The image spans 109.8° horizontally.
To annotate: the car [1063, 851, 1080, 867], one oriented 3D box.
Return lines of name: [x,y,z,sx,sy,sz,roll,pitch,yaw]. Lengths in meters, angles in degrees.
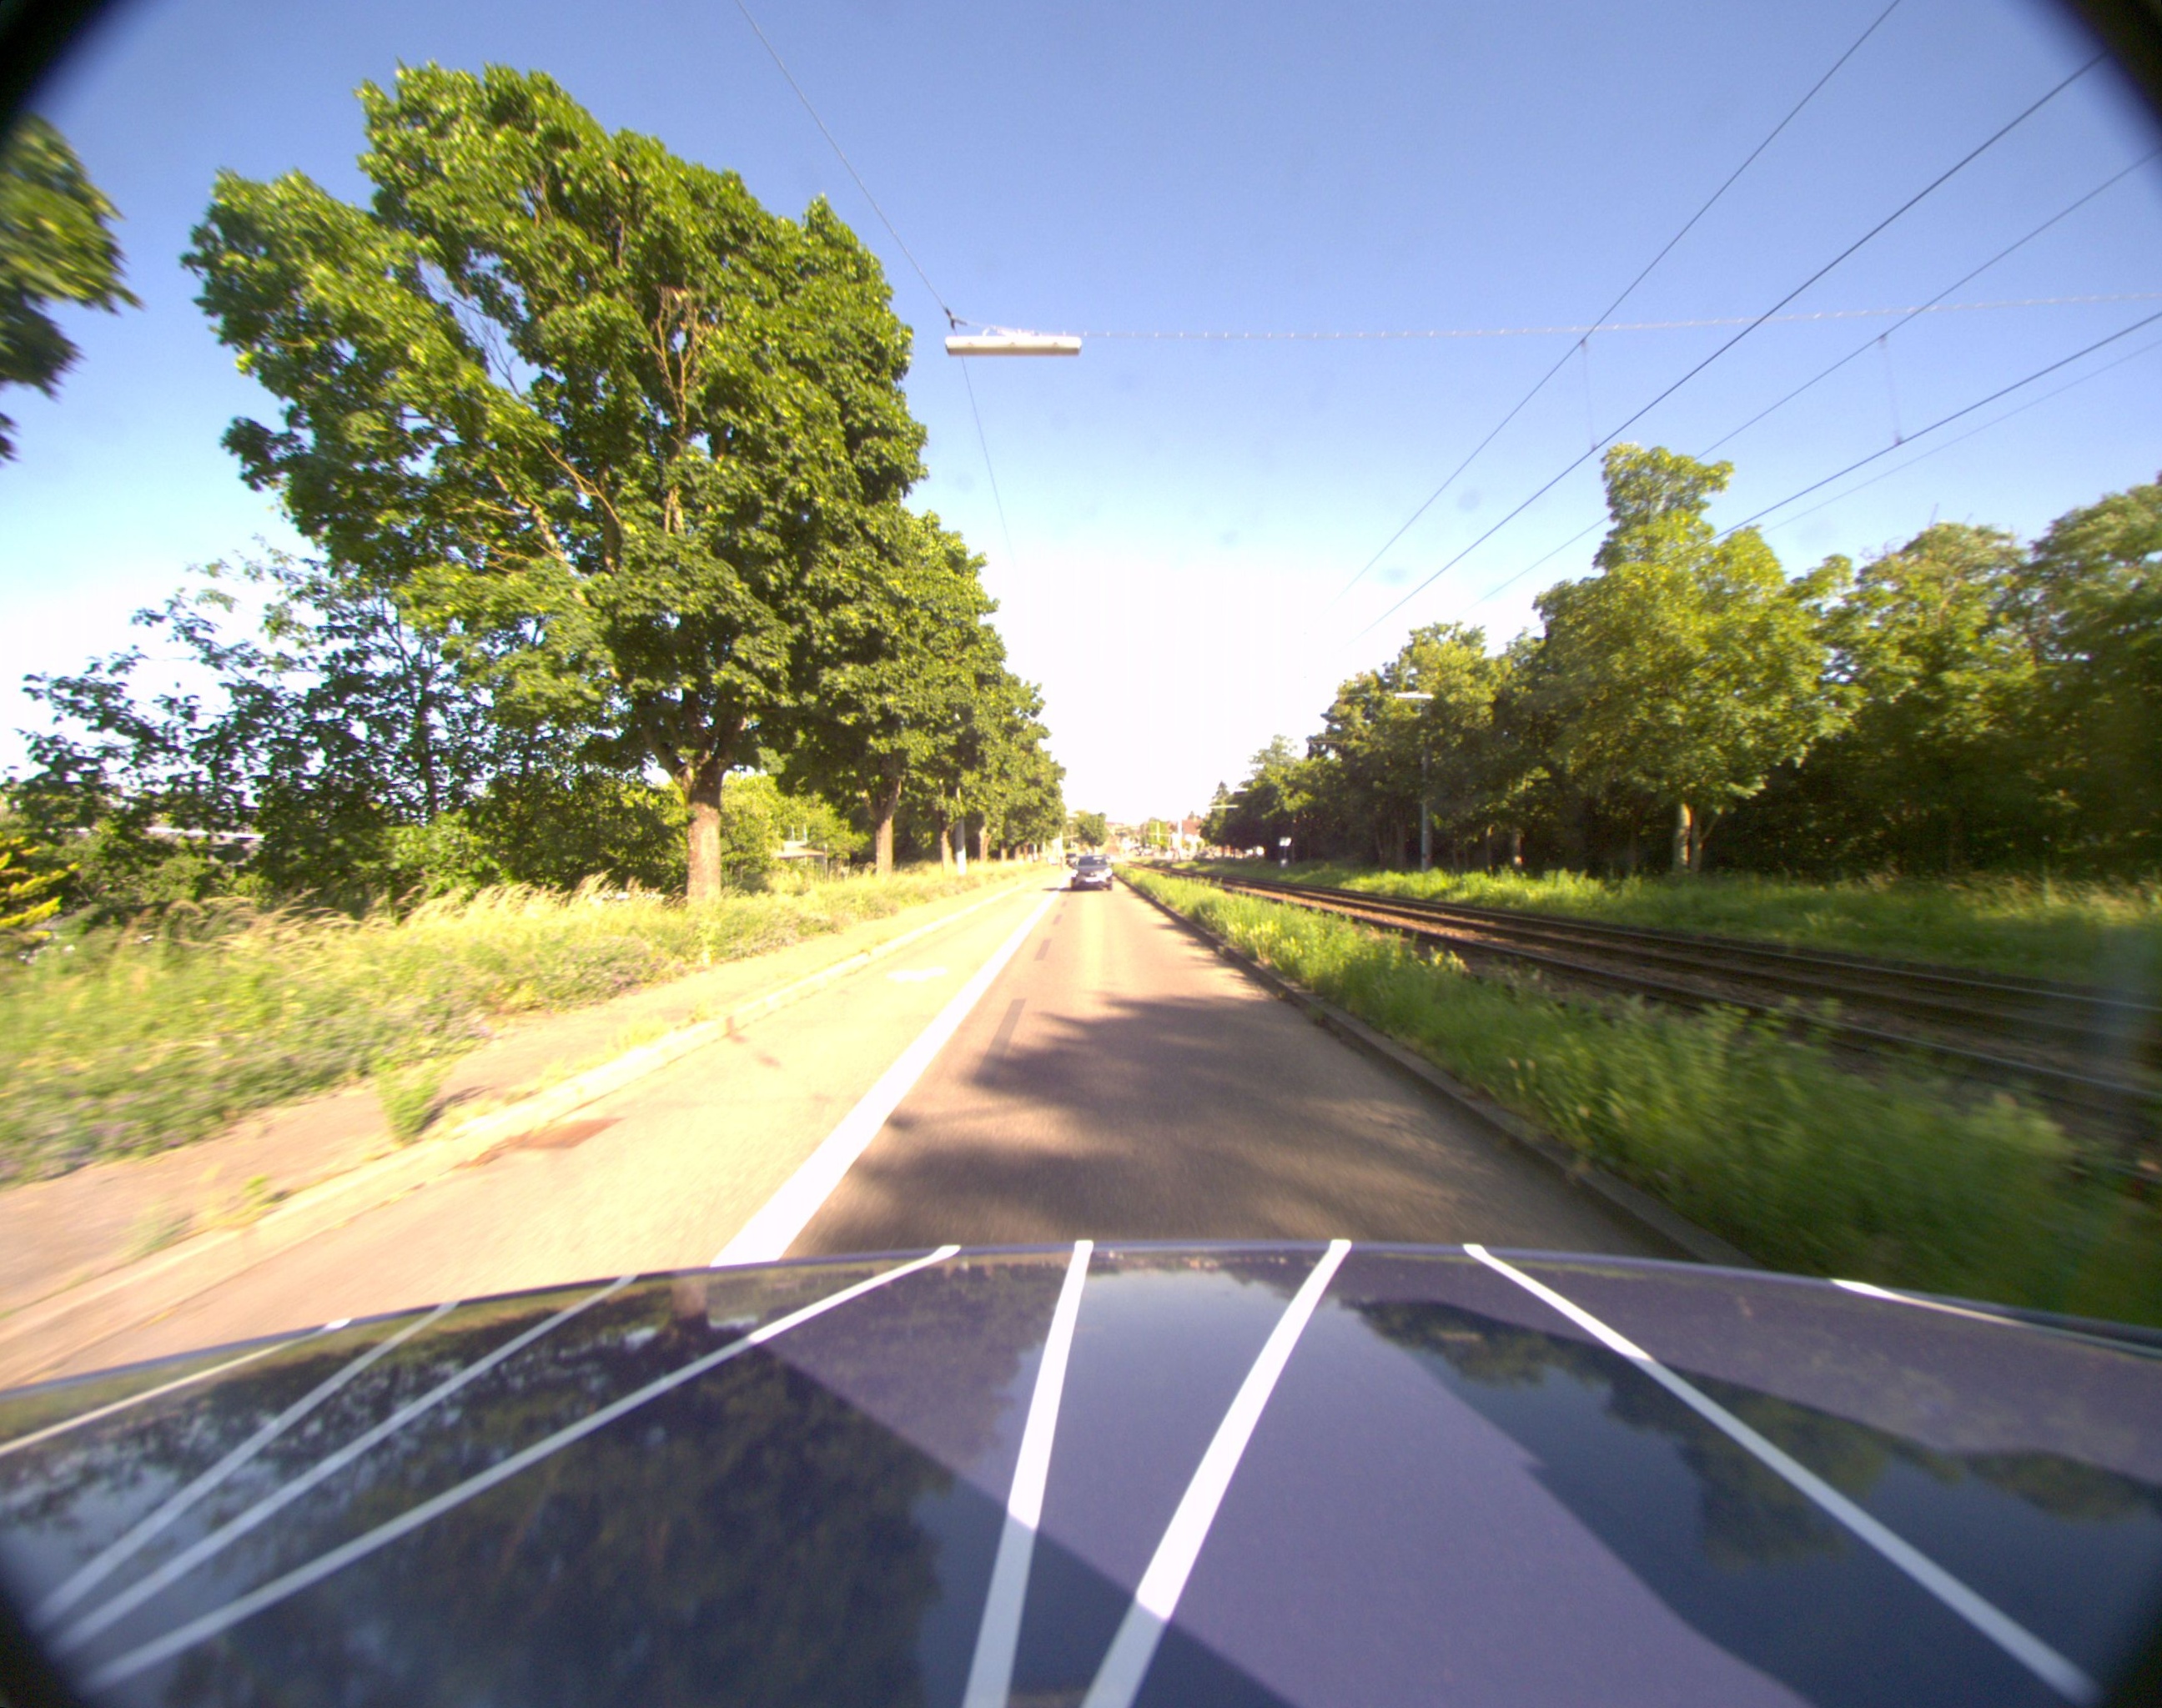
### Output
car: [-1.052,0.565,86.306,1.814,1.625,4.128,-3,1,1]

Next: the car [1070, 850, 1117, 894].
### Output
car: [0.547,0.704,33.042,1.814,1.625,4.709,-3,1,1]
